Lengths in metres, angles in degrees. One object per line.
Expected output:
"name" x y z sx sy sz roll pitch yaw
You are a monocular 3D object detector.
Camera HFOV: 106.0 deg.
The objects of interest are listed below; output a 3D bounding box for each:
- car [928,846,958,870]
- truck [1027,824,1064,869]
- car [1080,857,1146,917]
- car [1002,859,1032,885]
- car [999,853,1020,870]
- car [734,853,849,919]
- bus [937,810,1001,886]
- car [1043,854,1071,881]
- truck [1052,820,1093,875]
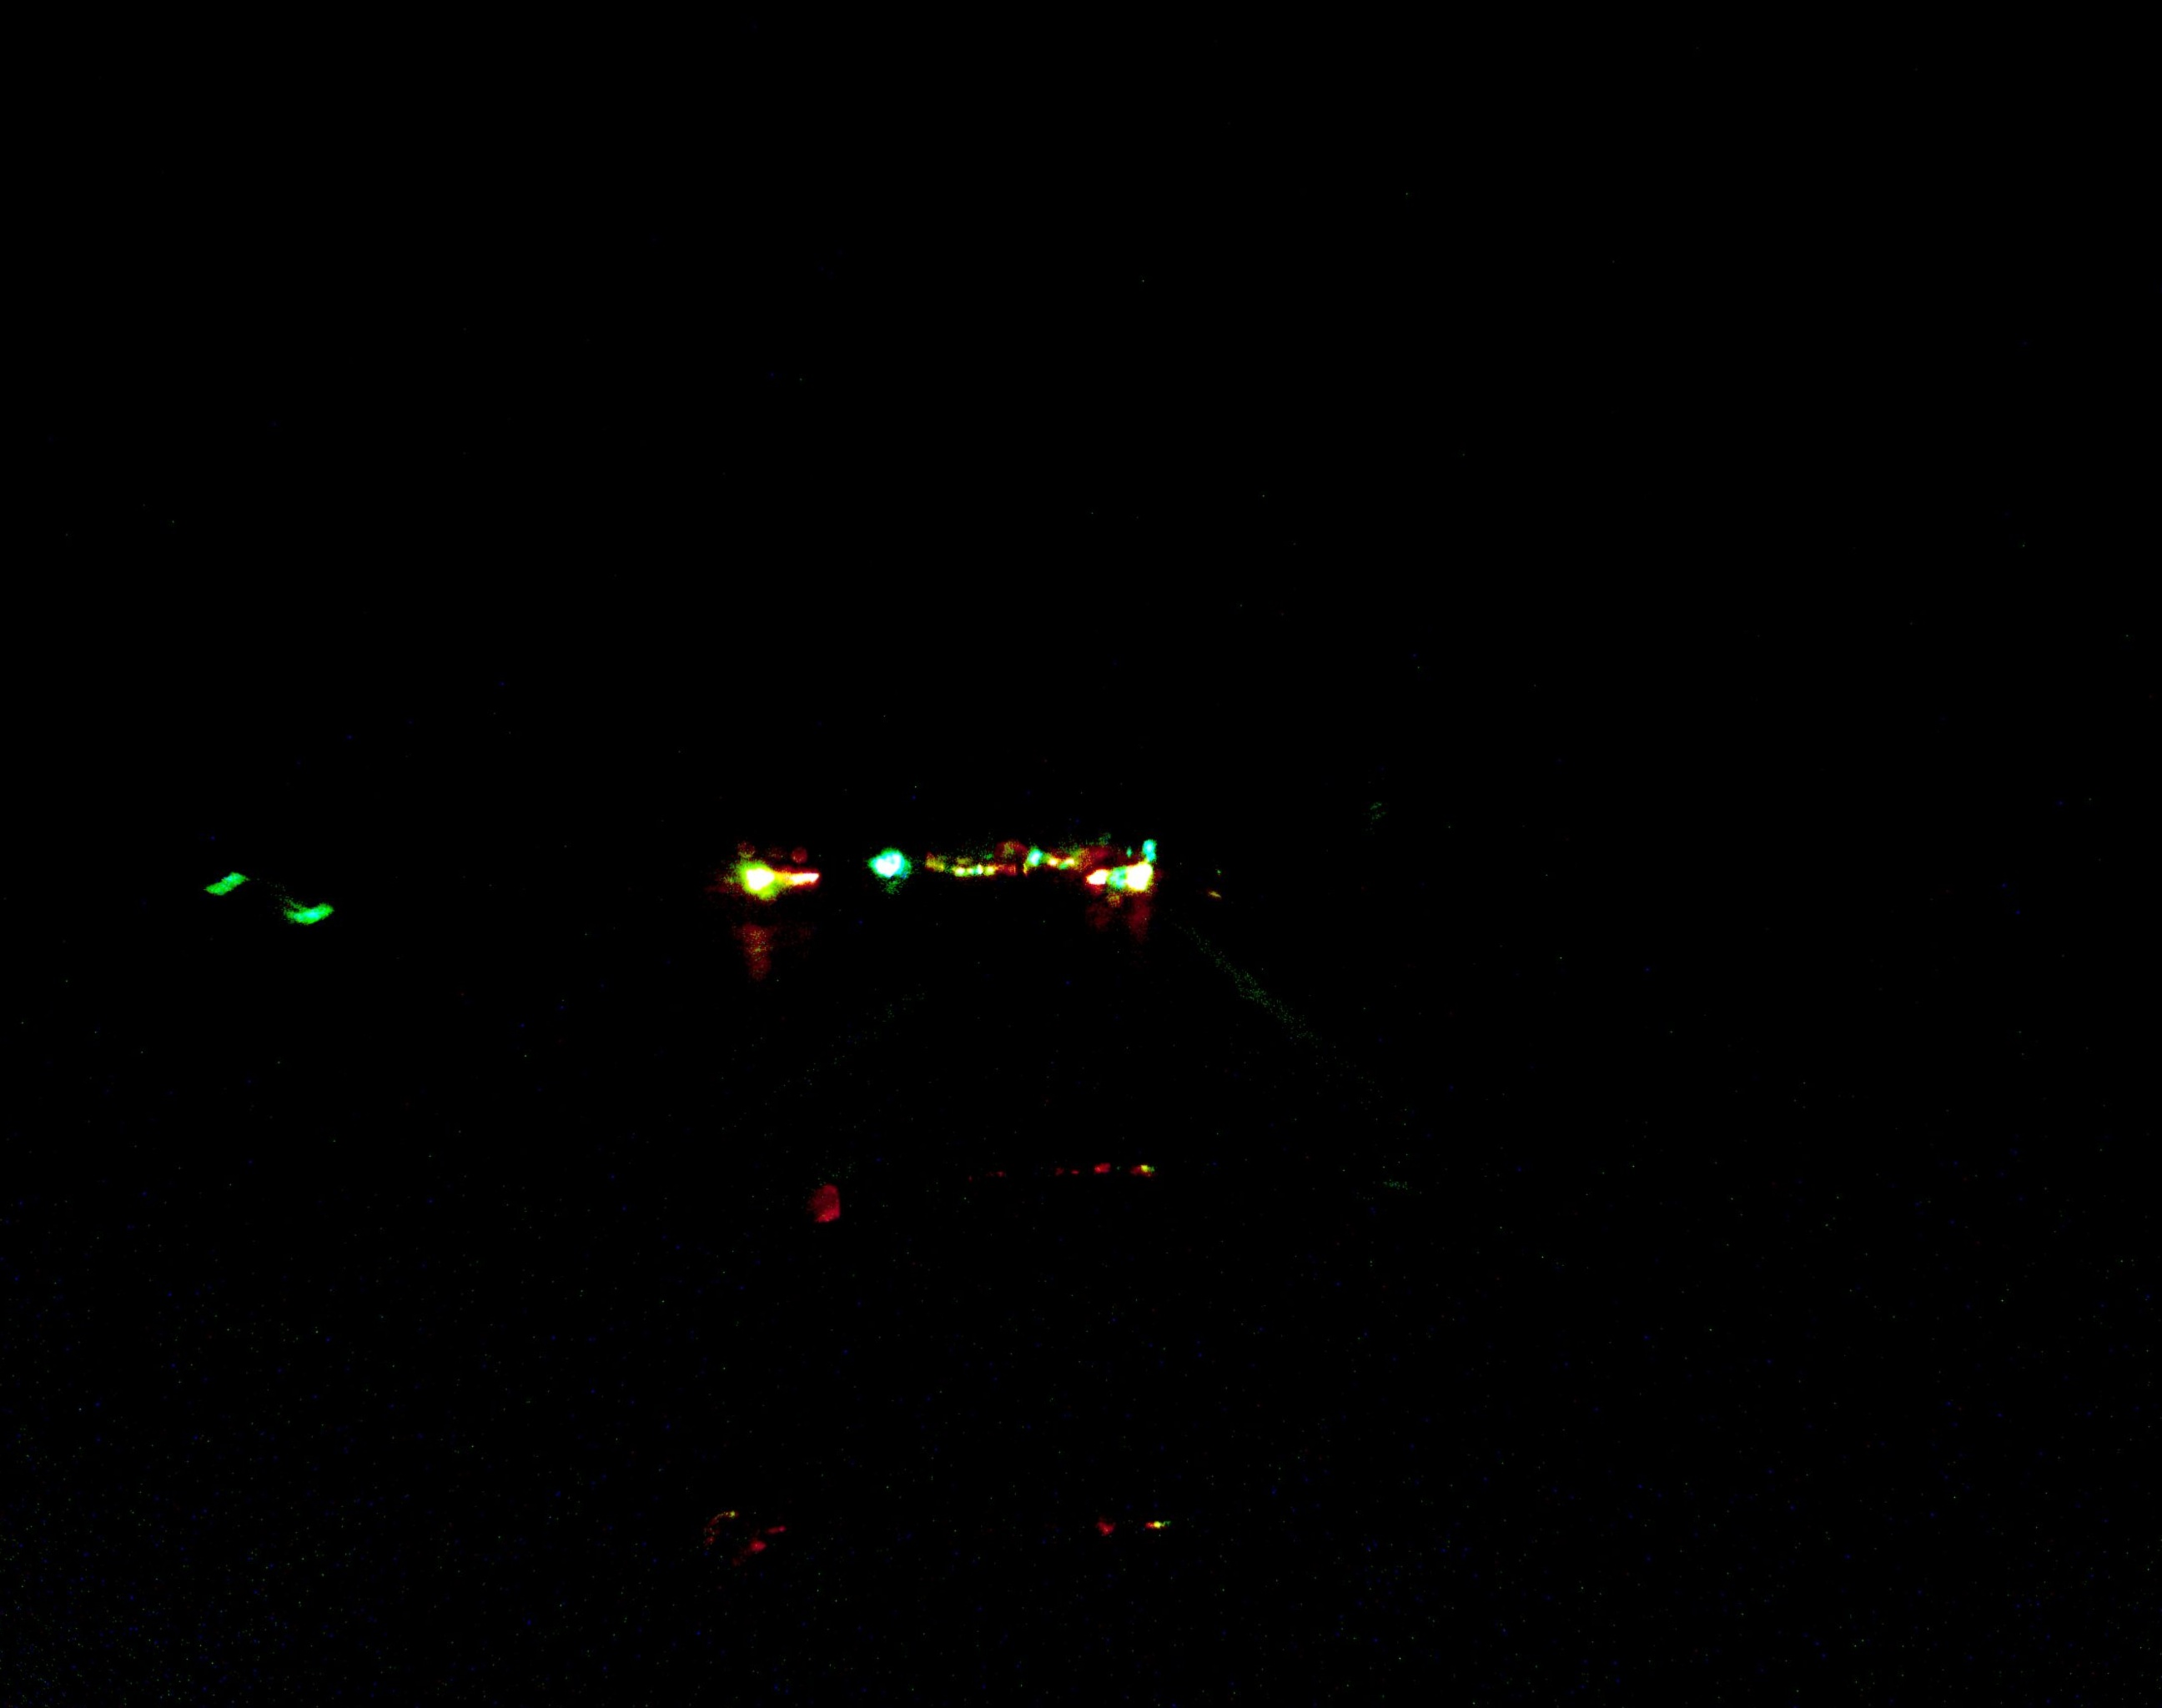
"car" -10.725 0.350 63.723 1.990 1.794 3.992 0 -1 -5
"truck" -4.575 -0.875 107.015 4.196 5.648 11.467 0 -1 1
"car" 1.020 1.018 26.618 1.986 1.807 4.001 -1 -1 1
"car" -4.700 1.278 59.872 1.988 1.807 3.997 0 -1 -2
"car" -7.619 0.783 86.849 1.988 1.807 3.997 0 -1 -2
"car" -7.735 0.808 22.167 1.990 1.596 3.992 0 -1 -5
"bus" -7.258 -0.327 54.238 3.089 4.508 10.903 0 -1 -2
"car" -1.852 1.047 64.161 2.120 2.014 4.643 0 -1 -1
"truck" -0.811 -0.614 90.240 4.196 5.648 11.467 0 -1 1
